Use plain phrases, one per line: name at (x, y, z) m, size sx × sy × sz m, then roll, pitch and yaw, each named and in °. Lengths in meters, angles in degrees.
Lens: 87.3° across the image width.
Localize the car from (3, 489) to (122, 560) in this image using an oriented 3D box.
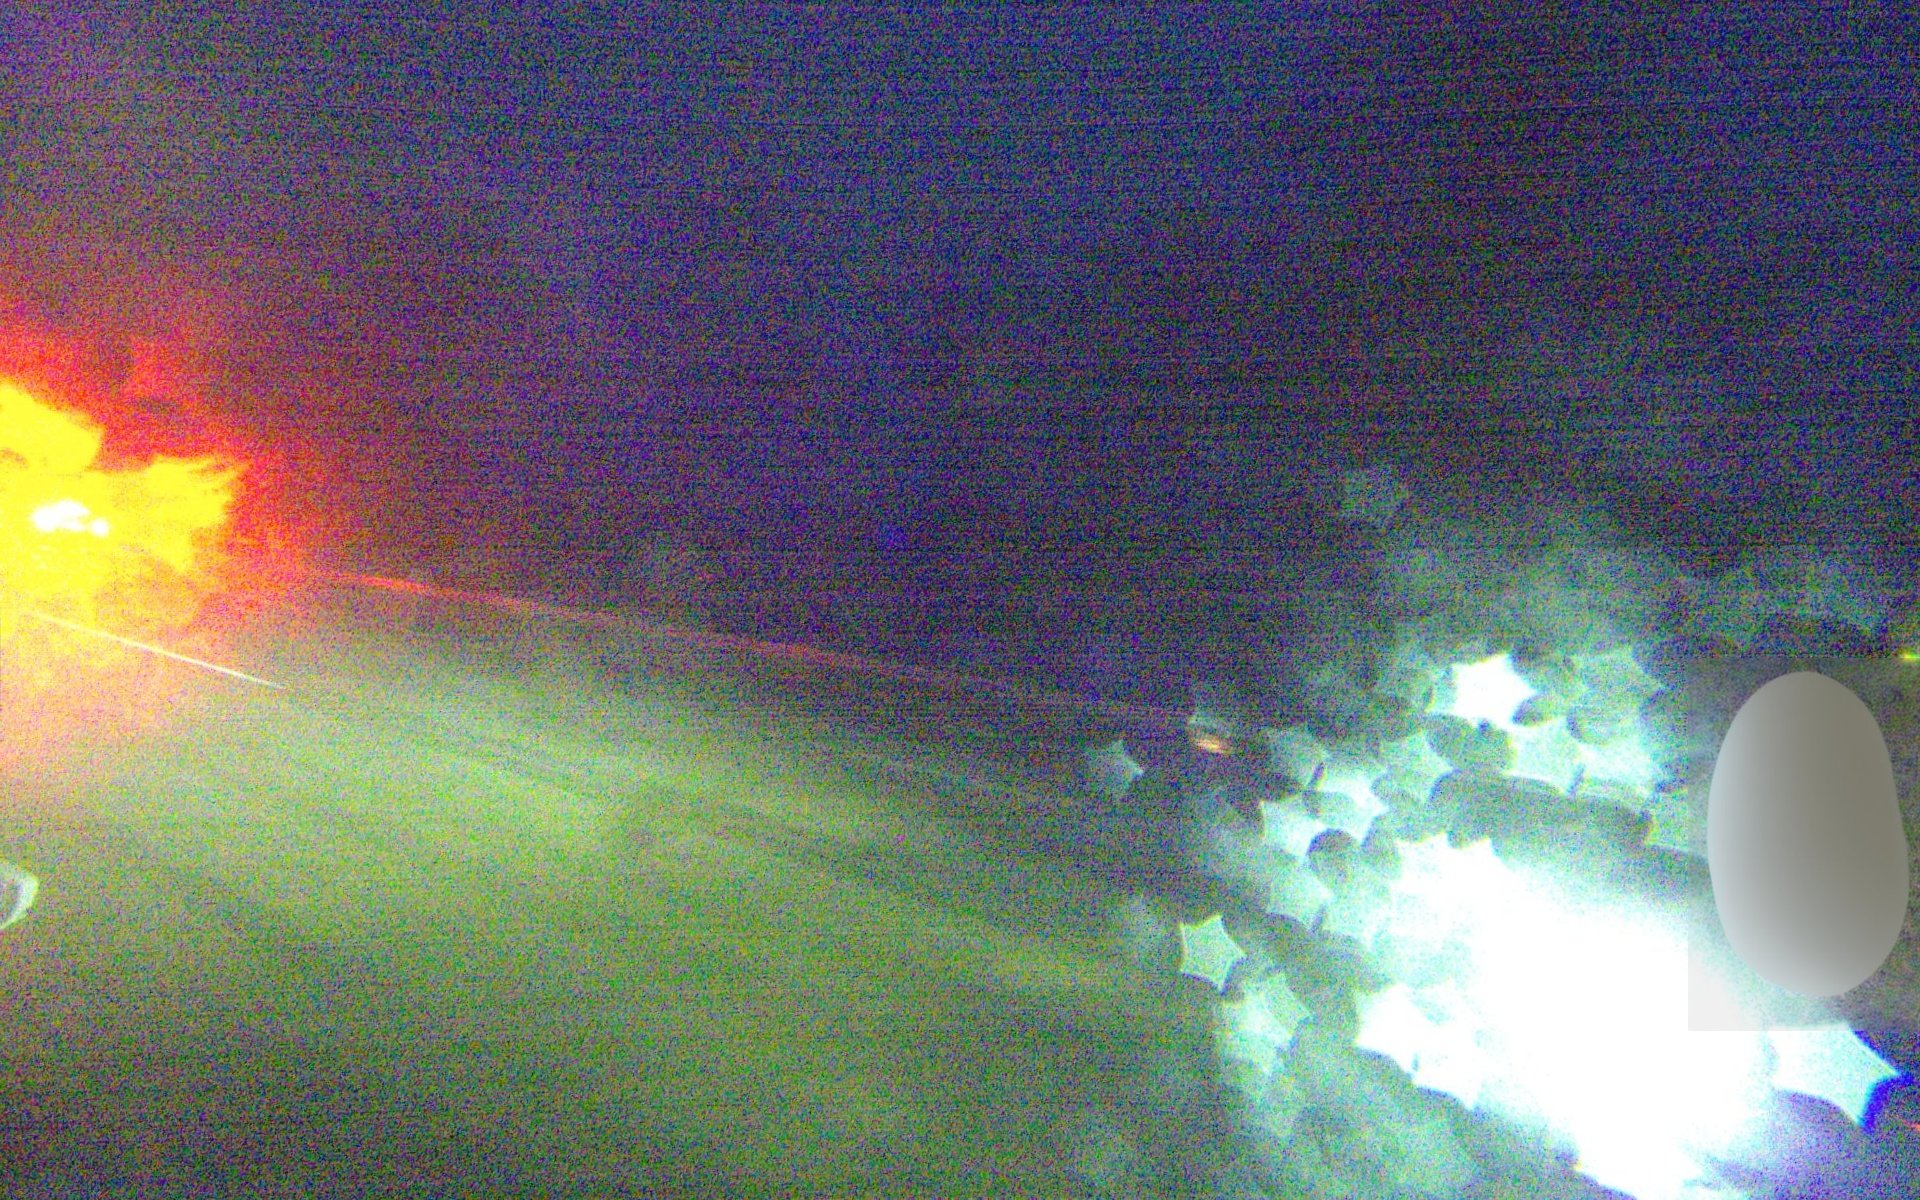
car at (-33.192, -2.808, 37.151) m, size 5.365 × 2.036 × 2.064 m, roll 7°, pitch -2°, yaw 37°

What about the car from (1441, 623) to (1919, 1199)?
car at (3.092, 1.156, 2.028) m, size 3.617 × 1.642 × 1.848 m, roll 7°, pitch -3°, yaw 31°
